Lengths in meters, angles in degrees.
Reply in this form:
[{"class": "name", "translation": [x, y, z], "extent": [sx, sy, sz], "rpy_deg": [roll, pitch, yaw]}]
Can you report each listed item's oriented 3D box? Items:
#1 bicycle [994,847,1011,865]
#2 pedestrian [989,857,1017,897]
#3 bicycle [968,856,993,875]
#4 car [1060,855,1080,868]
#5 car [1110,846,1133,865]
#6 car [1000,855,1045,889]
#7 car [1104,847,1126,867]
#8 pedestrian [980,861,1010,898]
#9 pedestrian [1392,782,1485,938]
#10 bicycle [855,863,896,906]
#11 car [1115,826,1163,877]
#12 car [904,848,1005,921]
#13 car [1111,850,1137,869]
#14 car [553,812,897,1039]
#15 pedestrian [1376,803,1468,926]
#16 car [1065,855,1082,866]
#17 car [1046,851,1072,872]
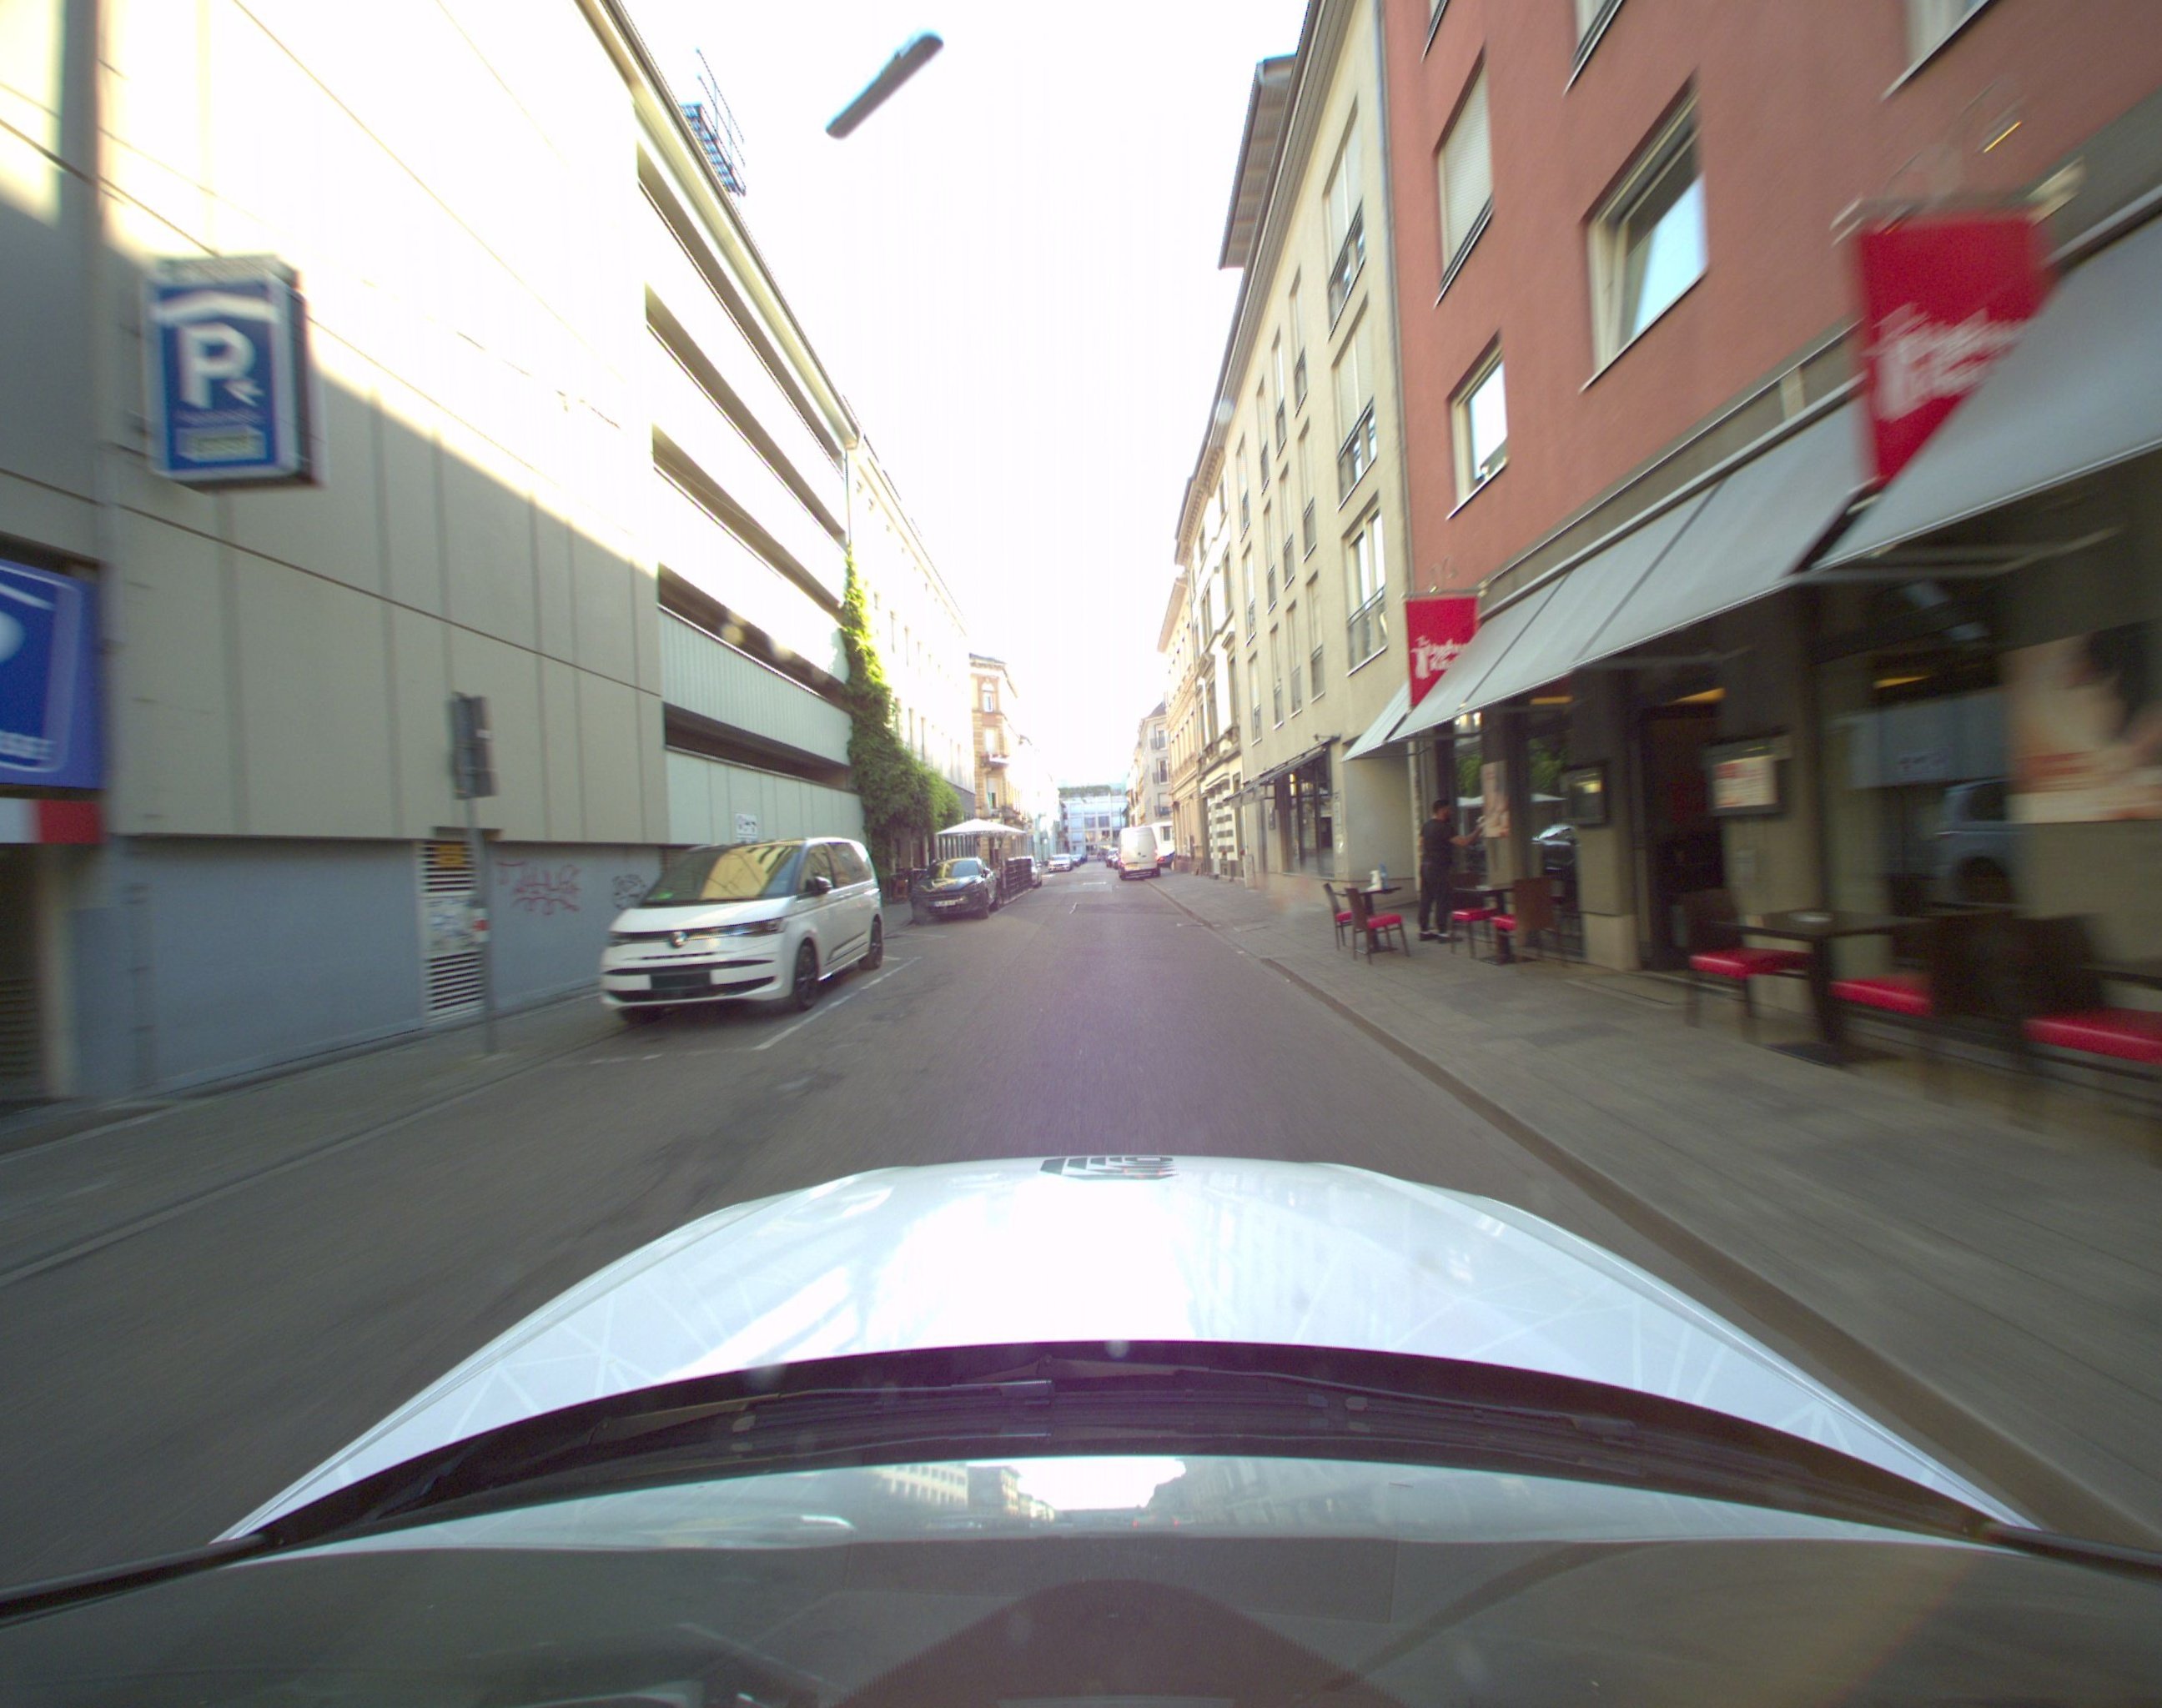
[{"class": "bicycle", "translation": [-4.080, 0.111, 42.480], "extent": [0.594, 0.905, 1.645], "rpy_deg": [-3, 0, 2]}, {"class": "pedestrian", "translation": [-2.660, 0.765, 27.799], "extent": [0.778, 1.287, 0.916], "rpy_deg": [-3, 0, 1]}, {"class": "bicycle", "translation": [-7.529, 0.840, 60.998], "extent": [1.753, 1.275, 0.660], "rpy_deg": [-3, 3, -3]}, {"class": "car", "translation": [-1.234, 0.808, 92.402], "extent": [1.987, 1.355, 4.429], "rpy_deg": [-3, 0, 1]}, {"class": "car", "translation": [3.667, 0.130, 74.417], "extent": [1.957, 1.557, 3.889], "rpy_deg": [-3, 0, 1]}, {"class": "car", "translation": [-2.663, 0.816, 37.797], "extent": [1.652, 1.414, 3.882], "rpy_deg": [-3, 0, 0]}, {"class": "car", "translation": [3.292, 0.289, 79.761], "extent": [1.887, 1.784, 4.000], "rpy_deg": [-3, 0, 0]}, {"class": "pedestrian", "translation": [-2.834, 0.832, 26.811], "extent": [0.546, 1.165, 0.746], "rpy_deg": [-4, 0, 33]}, {"class": "pedestrian", "translation": [4.391, 0.069, 10.049], "extent": [0.655, 1.792, 0.730], "rpy_deg": [-6, 0, 0]}, {"class": "bicycle", "translation": [-6.034, 0.888, 23.961], "extent": [0.640, 1.160, 1.795], "rpy_deg": [-2, 0, 2]}, {"class": "car", "translation": [3.021, -0.136, 43.798], "extent": [2.268, 2.439, 6.207], "rpy_deg": [-3, 0, 2]}, {"class": "car", "translation": [-3.232, 0.727, 21.797], "extent": [1.876, 1.568, 4.769], "rpy_deg": [-6, 0, -1]}, {"class": "car", "translation": [3.574, 0.431, 68.345], "extent": [1.932, 1.372, 3.788], "rpy_deg": [-5, 0, 0]}, {"class": "car", "translation": [-3.858, 0.659, 10.005], "extent": [1.988, 1.939, 4.849], "rpy_deg": [-5, 0, -1]}, {"class": "pedestrian", "translation": [4.359, 0.133, 10.464], "extent": [0.822, 1.486, 0.661], "rpy_deg": [-4, 0, 0]}, {"class": "car", "translation": [-1.024, 0.859, 110.177], "extent": [2.167, 1.418, 3.998], "rpy_deg": [-3, 0, -1]}, {"class": "car", "translation": [-1.850, 0.597, 69.517], "extent": [1.988, 1.564, 4.505], "rpy_deg": [-5, 0, -1]}]
